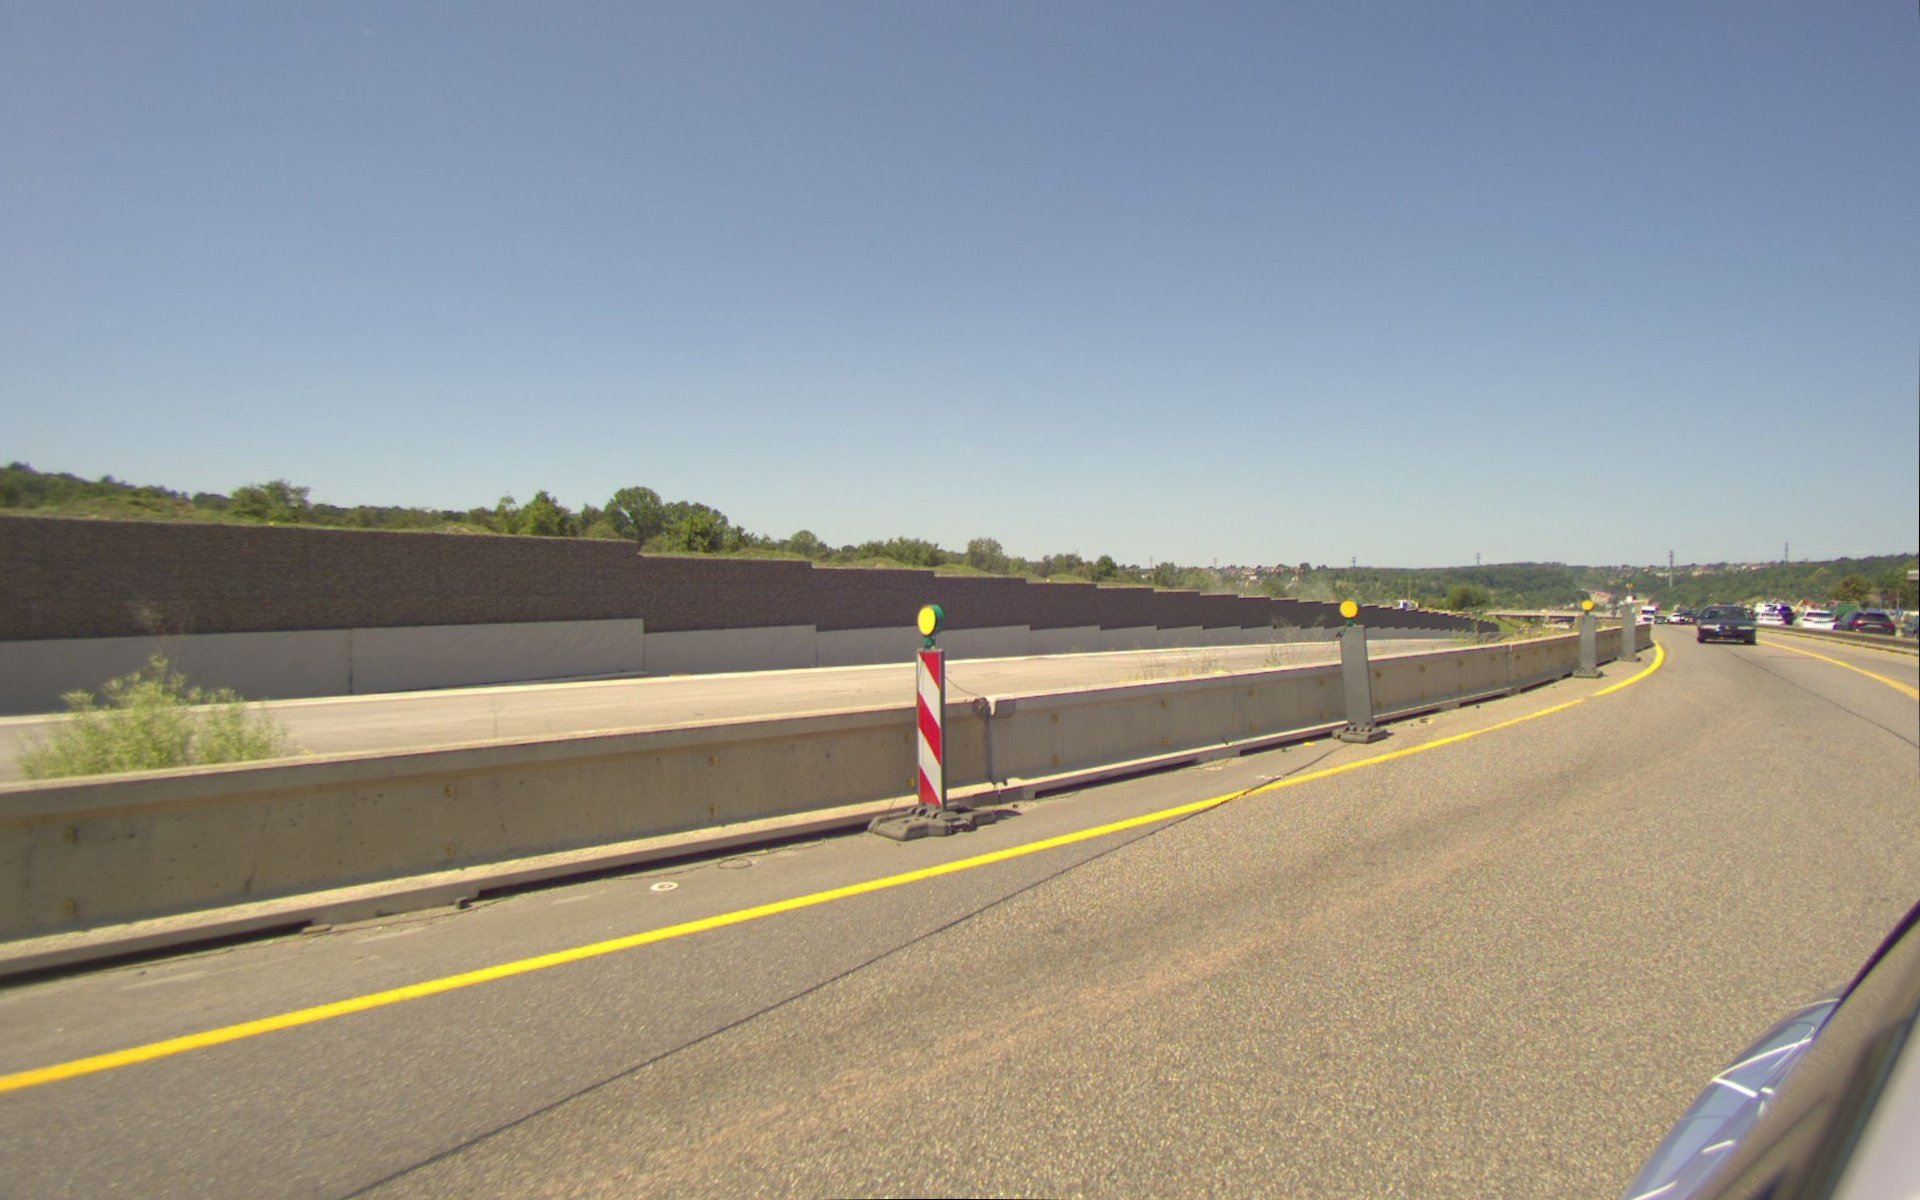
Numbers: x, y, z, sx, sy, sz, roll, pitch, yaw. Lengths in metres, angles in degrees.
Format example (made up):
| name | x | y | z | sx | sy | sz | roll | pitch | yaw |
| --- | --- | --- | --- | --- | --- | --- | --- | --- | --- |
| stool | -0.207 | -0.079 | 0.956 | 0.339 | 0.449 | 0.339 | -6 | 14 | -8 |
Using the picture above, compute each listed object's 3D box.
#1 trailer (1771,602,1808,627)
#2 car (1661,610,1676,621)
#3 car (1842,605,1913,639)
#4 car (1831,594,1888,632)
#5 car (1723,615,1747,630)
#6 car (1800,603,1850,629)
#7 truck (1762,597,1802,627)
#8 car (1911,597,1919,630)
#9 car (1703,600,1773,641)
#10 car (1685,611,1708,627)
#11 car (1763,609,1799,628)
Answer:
| name | x | y | z | sx | sy | sz | roll | pitch | yaw |
| --- | --- | --- | --- | --- | --- | --- | --- | --- | --- |
| trailer | 81.366 | 1.441 | 99.343 | 2.174 | 2.343 | 5.544 | 2 | 0 | 34 |
| car | 116.766 | 2.502 | 166.771 | 1.849 | 1.624 | 4.677 | 3 | 0 | 33 |
| car | 43.118 | 1.011 | 47.662 | 1.768 | 1.445 | 4.711 | 4 | 2 | 34 |
| car | 61.474 | 0.935 | 69.274 | 1.906 | 2.430 | 6.374 | -3 | -3 | 33 |
| car | 88.815 | 2.554 | 116.000 | 1.898 | 1.629 | 3.950 | 2 | 0 | 34 |
| car | 52.183 | 0.968 | 61.103 | 1.727 | 1.497 | 4.464 | -2 | -2 | 34 |
| truck | 85.160 | 1.215 | 104.947 | 2.472 | 2.859 | 8.028 | 3 | 1 | 34 |
| car | 47.525 | 0.649 | 48.774 | 1.760 | 1.618 | 3.952 | -2 | -2 | 33 |
| car | 28.685 | 0.770 | 37.428 | 1.800 | 1.323 | 3.949 | 3 | 0 | 35 |
| car | 78.536 | 2.052 | 107.877 | 1.695 | 1.705 | 3.744 | -1 | -1 | 32 |
| car | 65.488 | 1.487 | 80.752 | 1.809 | 1.394 | 4.195 | -2 | -2 | 34 |
